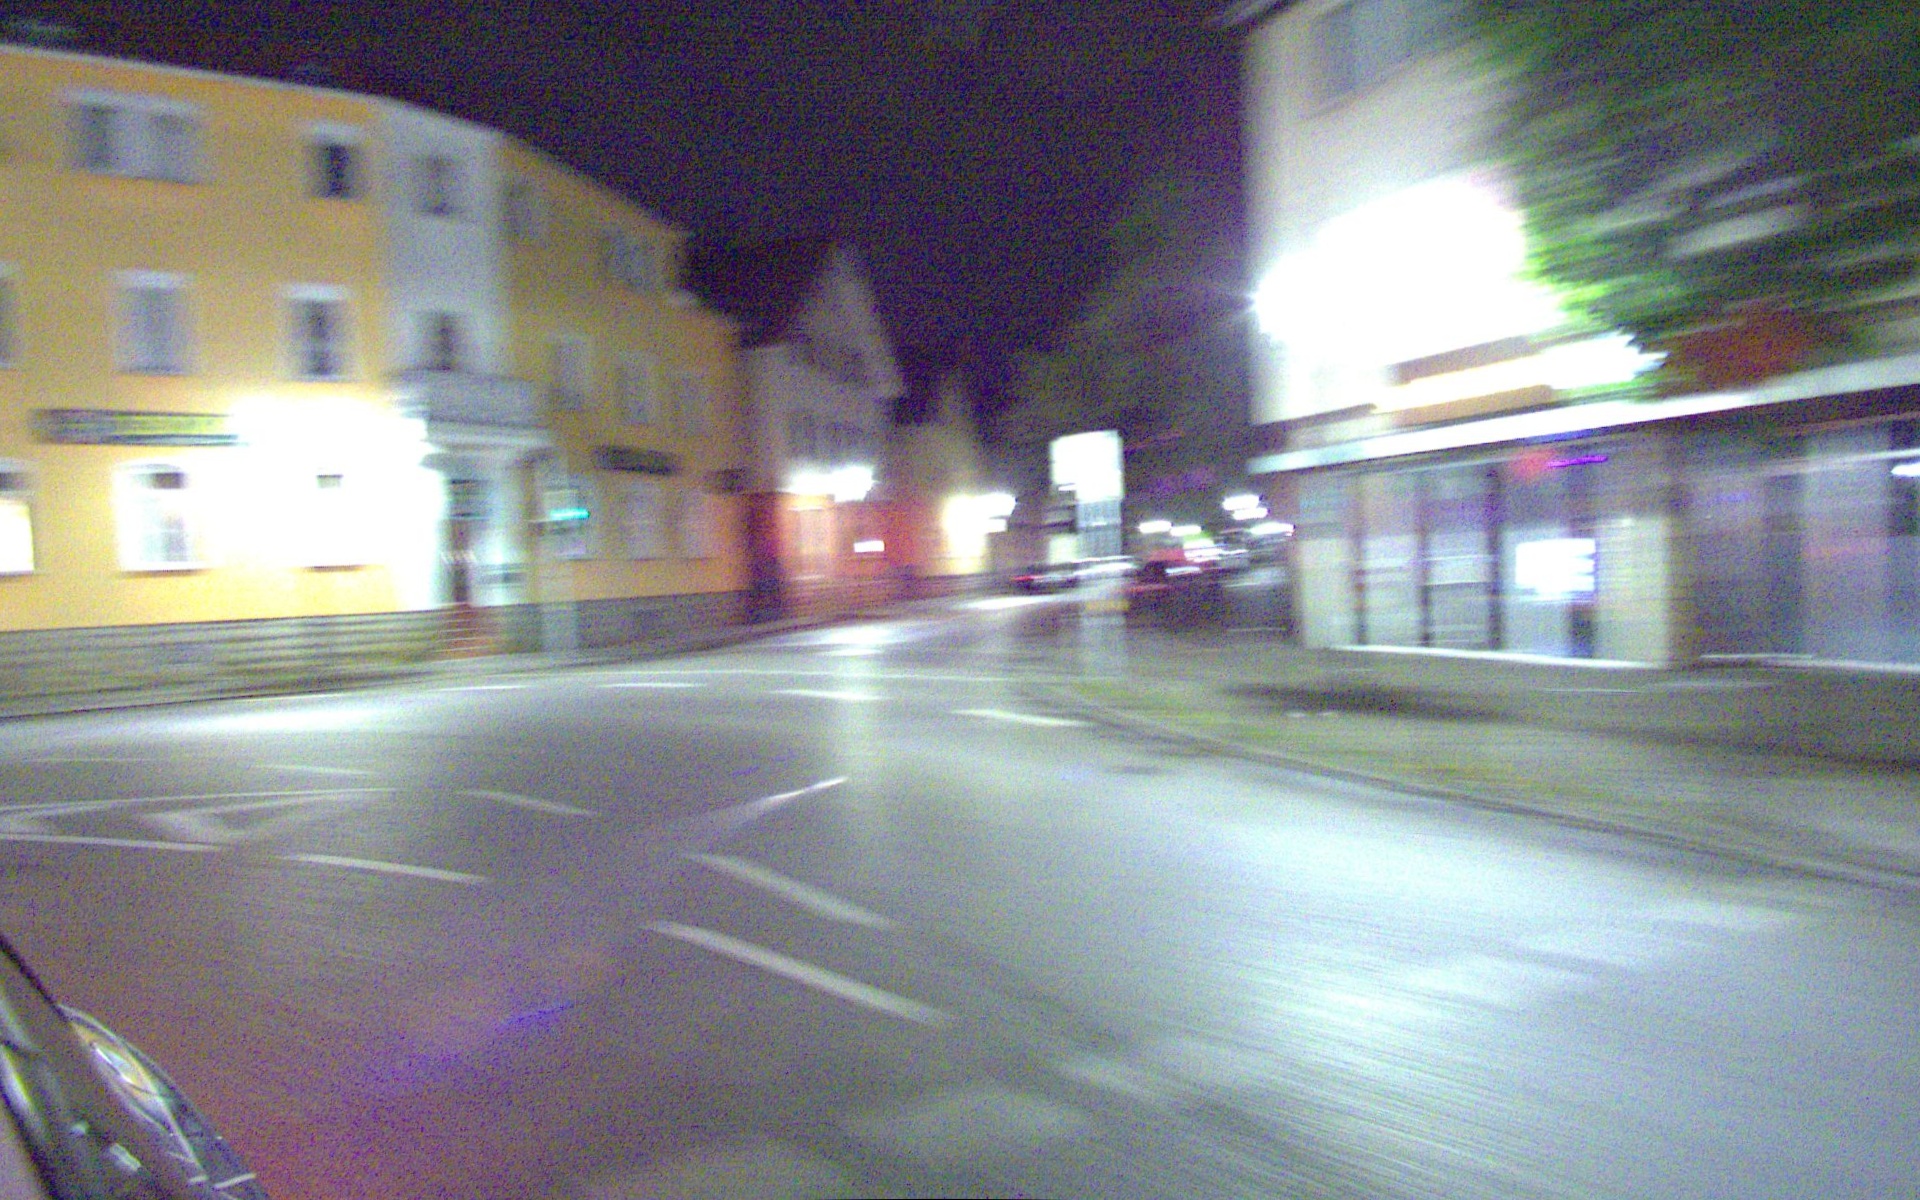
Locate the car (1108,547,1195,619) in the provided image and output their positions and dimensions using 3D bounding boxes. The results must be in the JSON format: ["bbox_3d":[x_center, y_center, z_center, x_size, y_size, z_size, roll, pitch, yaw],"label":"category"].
[{"bbox_3d":[5.366,-0.515,27.921,1.912,1.763,4.156,-3,2,16],"label":"car"}]

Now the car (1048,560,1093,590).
[{"bbox_3d":[6.293,-1.463,57.318,1.698,1.530,3.977,-3,2,18],"label":"car"}]

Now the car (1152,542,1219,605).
[{"bbox_3d":[7.751,-0.918,34.527,1.912,1.922,4.156,-3,2,16],"label":"car"}]

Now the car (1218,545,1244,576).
[{"bbox_3d":[22.646,-3.288,84.406,1.912,2.369,4.156,-3,1,16],"label":"car"}]

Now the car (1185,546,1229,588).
[{"bbox_3d":[12.343,-1.650,50.423,1.912,1.922,4.156,-3,2,16],"label":"car"}]

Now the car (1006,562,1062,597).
[{"bbox_3d":[3.603,-1.002,48.362,1.721,1.530,3.977,-3,2,18],"label":"car"}]

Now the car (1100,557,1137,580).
[{"bbox_3d":[11.400,-2.288,72.548,1.984,1.530,3.977,-3,2,18],"label":"car"}]

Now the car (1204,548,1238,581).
[{"bbox_3d":[16.605,-2.289,64.378,1.912,1.922,4.156,-3,2,16],"label":"car"}]
